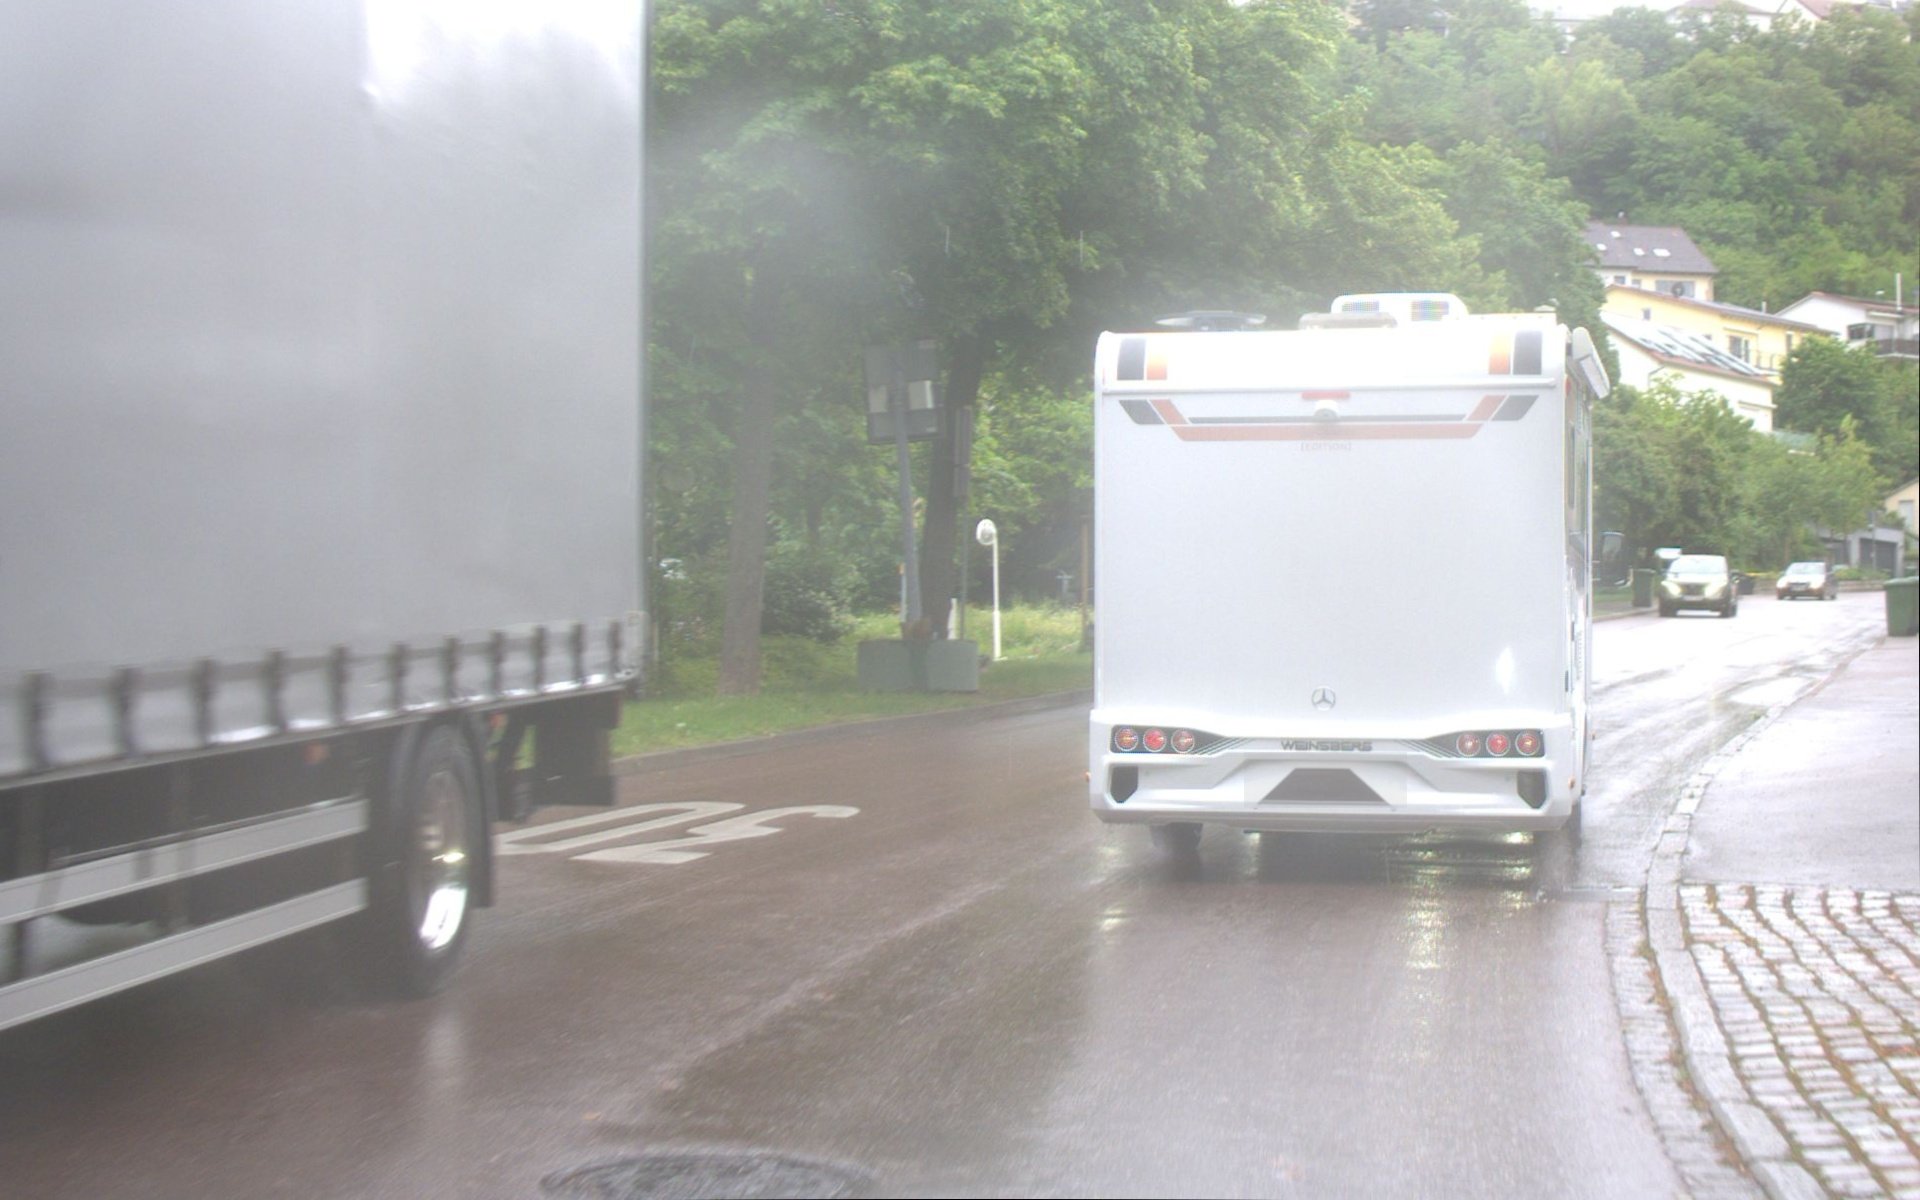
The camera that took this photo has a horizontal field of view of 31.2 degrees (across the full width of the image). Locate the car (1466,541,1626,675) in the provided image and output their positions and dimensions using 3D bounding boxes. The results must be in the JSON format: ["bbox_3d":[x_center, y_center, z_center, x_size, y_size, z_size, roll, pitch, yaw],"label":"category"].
[{"bbox_3d":[8.786,0.119,51.275,1.995,1.888,3.997,1,0,14],"label":"car"}]

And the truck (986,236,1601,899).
[{"bbox_3d":[2.069,-0.206,18.754,2.696,2.975,6.234,1,1,11],"label":"truck"}]

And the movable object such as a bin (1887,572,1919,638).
[{"bbox_3d":[17.628,0.091,63.926,0.725,1.198,0.729,-1,0,15],"label":"movable object such as a bin"}]

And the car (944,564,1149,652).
[{"bbox_3d":[1.814,0.171,72.965,3.986,1.756,2.000,1,0,-10],"label":"car"}]

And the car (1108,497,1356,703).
[{"bbox_3d":[2.766,0.000,34.097,1.994,1.888,3.998,1,0,11],"label":"car"}]

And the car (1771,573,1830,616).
[{"bbox_3d":[31.506,-0.202,128.764,1.679,1.563,3.566,1,0,21],"label":"car"}]

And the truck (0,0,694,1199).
[{"bbox_3d":[-3.266,-0.756,9.758,2.839,4.152,9.973,1,1,8],"label":"truck"}]

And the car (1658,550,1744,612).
[{"bbox_3d":[19.700,-0.487,91.311,1.679,1.563,3.566,1,0,21],"label":"car"}]
